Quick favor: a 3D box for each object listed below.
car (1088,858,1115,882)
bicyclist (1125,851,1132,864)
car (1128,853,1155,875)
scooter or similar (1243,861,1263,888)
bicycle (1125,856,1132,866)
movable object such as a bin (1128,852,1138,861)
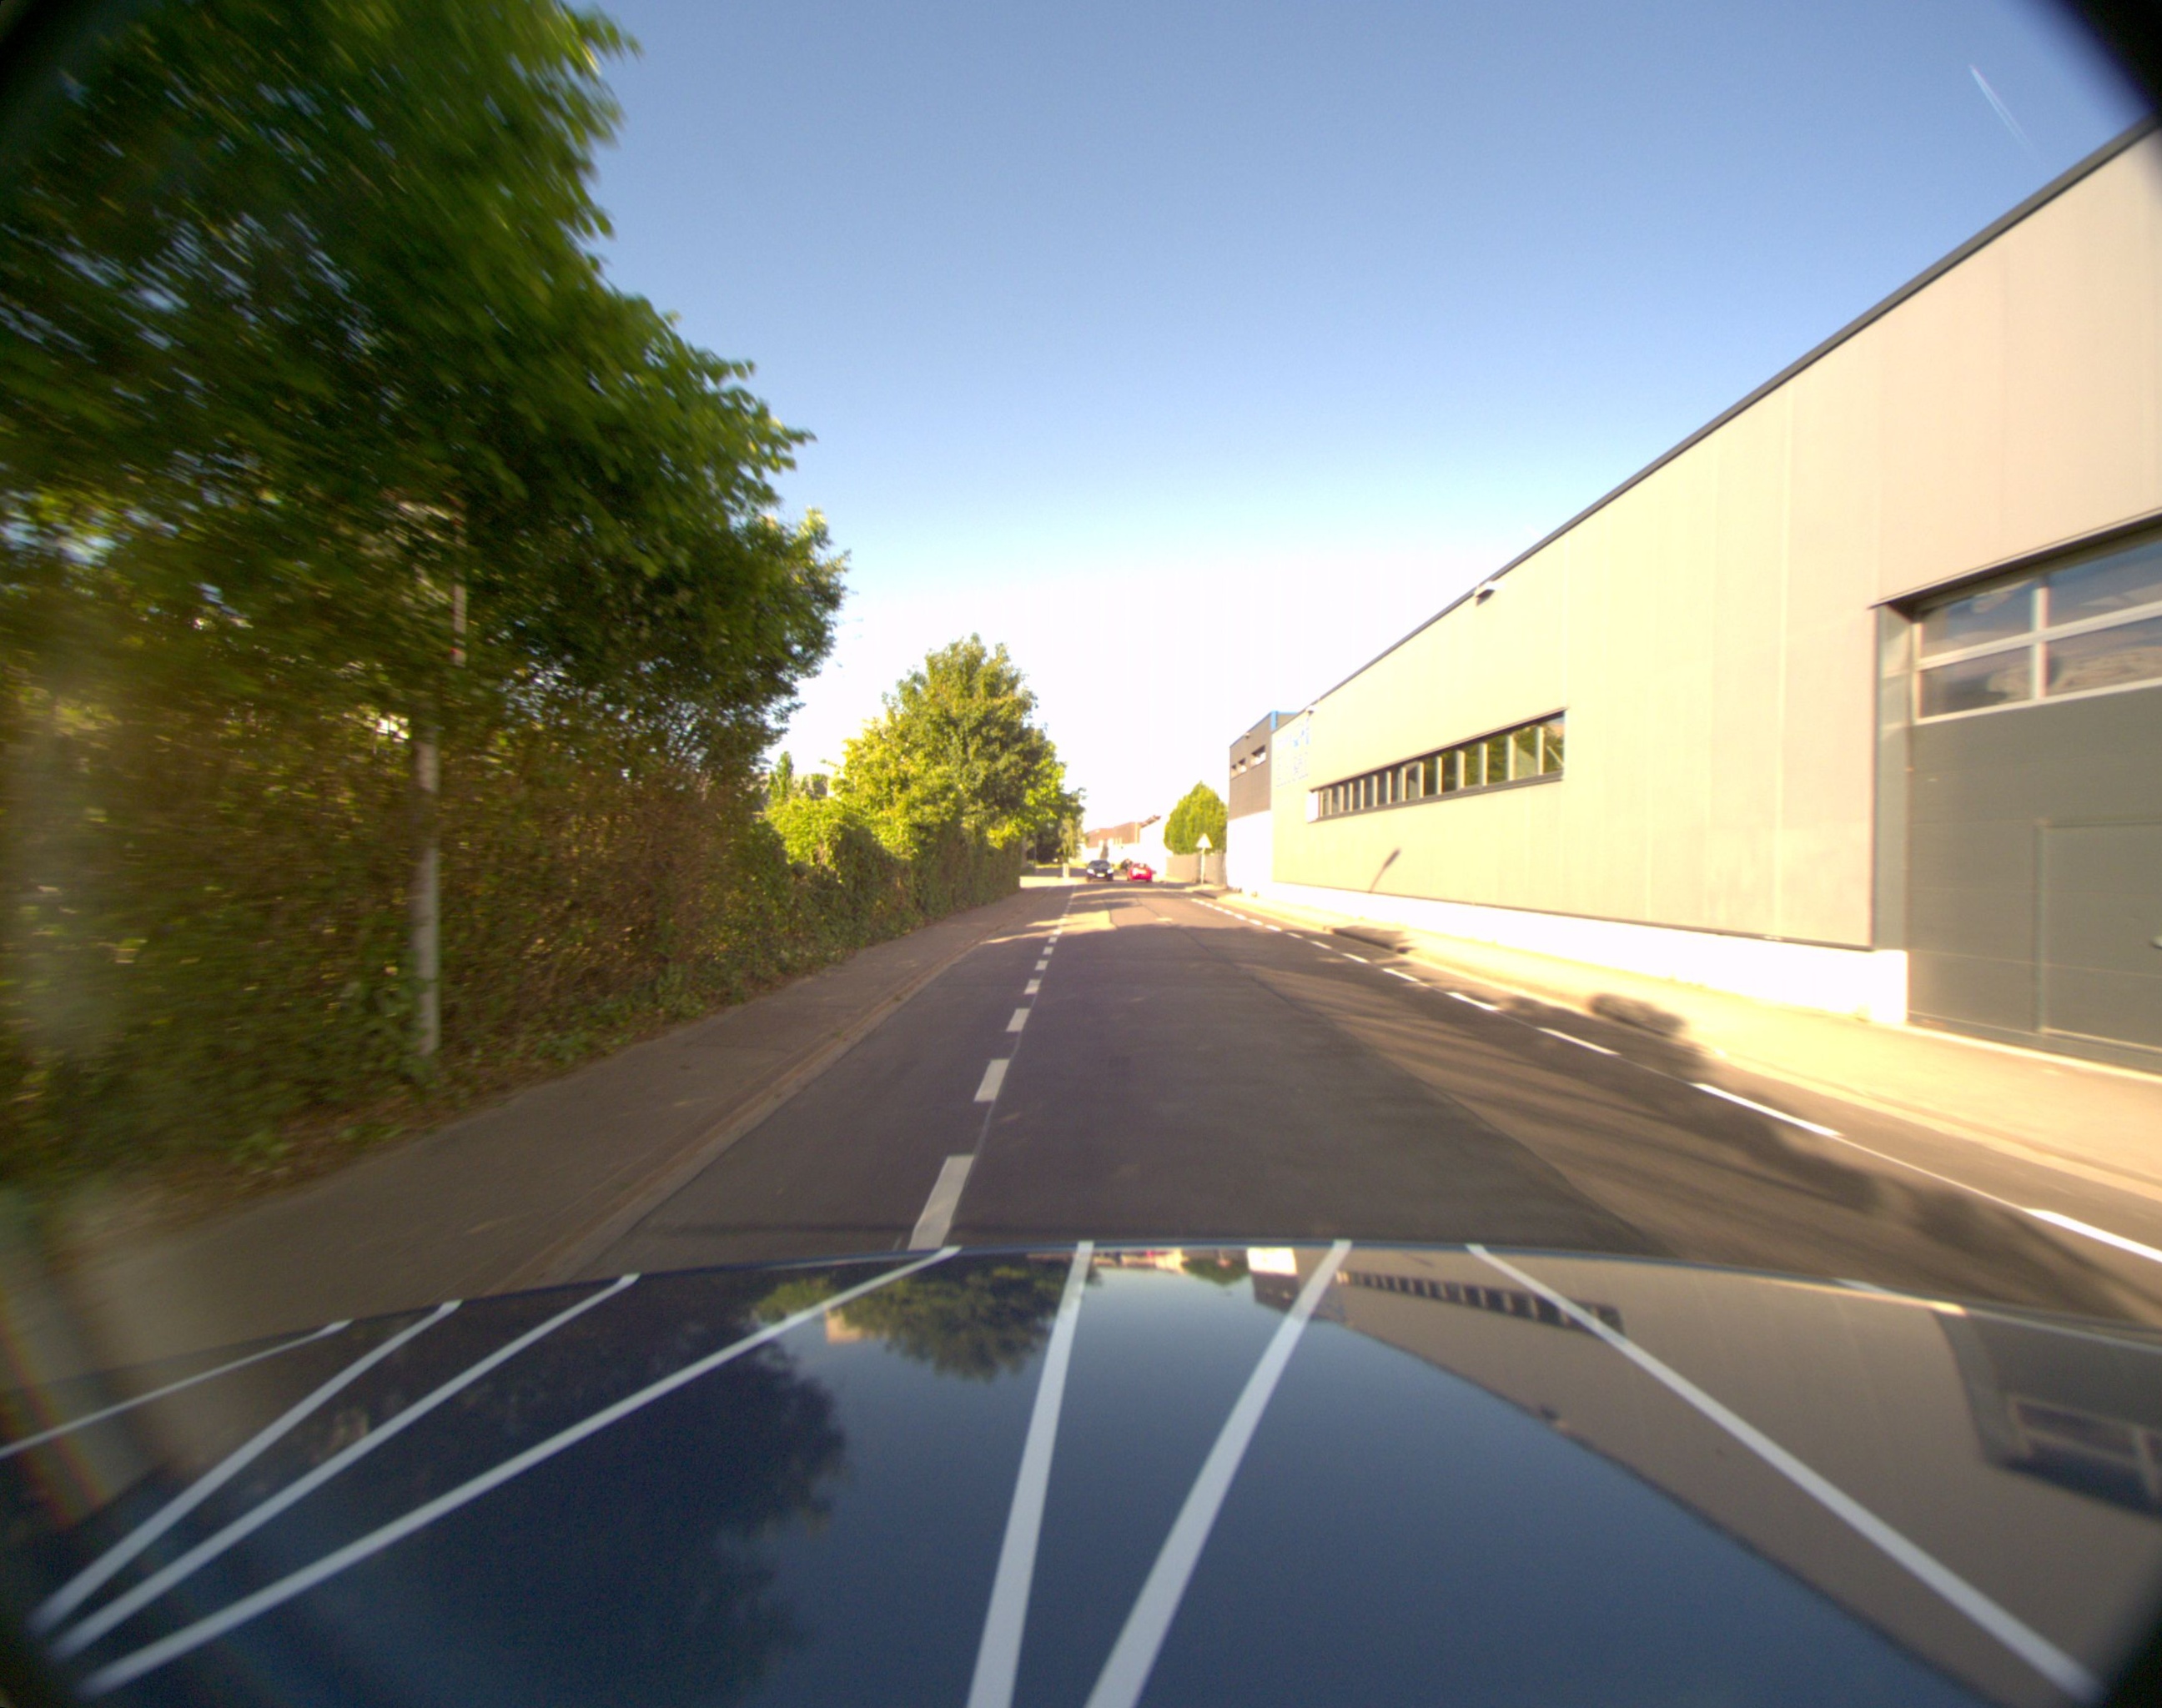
[{"bbox_3d":[1.581,1.198,58.470,2.036,1.623,4.613,1,1,2],"label":"car"},{"bbox_3d":[5.988,0.432,95.308,0.748,1.619,0.833,1,1,-1],"label":"bicyclist"},{"bbox_3d":[4.682,0.776,58.953,1.724,1.530,4.076,3,-1,1],"label":"car"},{"bbox_3d":[7.973,0.944,35.284,0.508,1.196,1.753,-3,1,1],"label":"scooter or similar"},{"bbox_3d":[5.995,0.864,95.314,0.669,1.281,2.172,1,0,-1],"label":"bicycle"},{"bbox_3d":[7.968,0.380,116.827,1.203,1.463,1.371,0,1,-11],"label":"movable object such as a bin"}]
